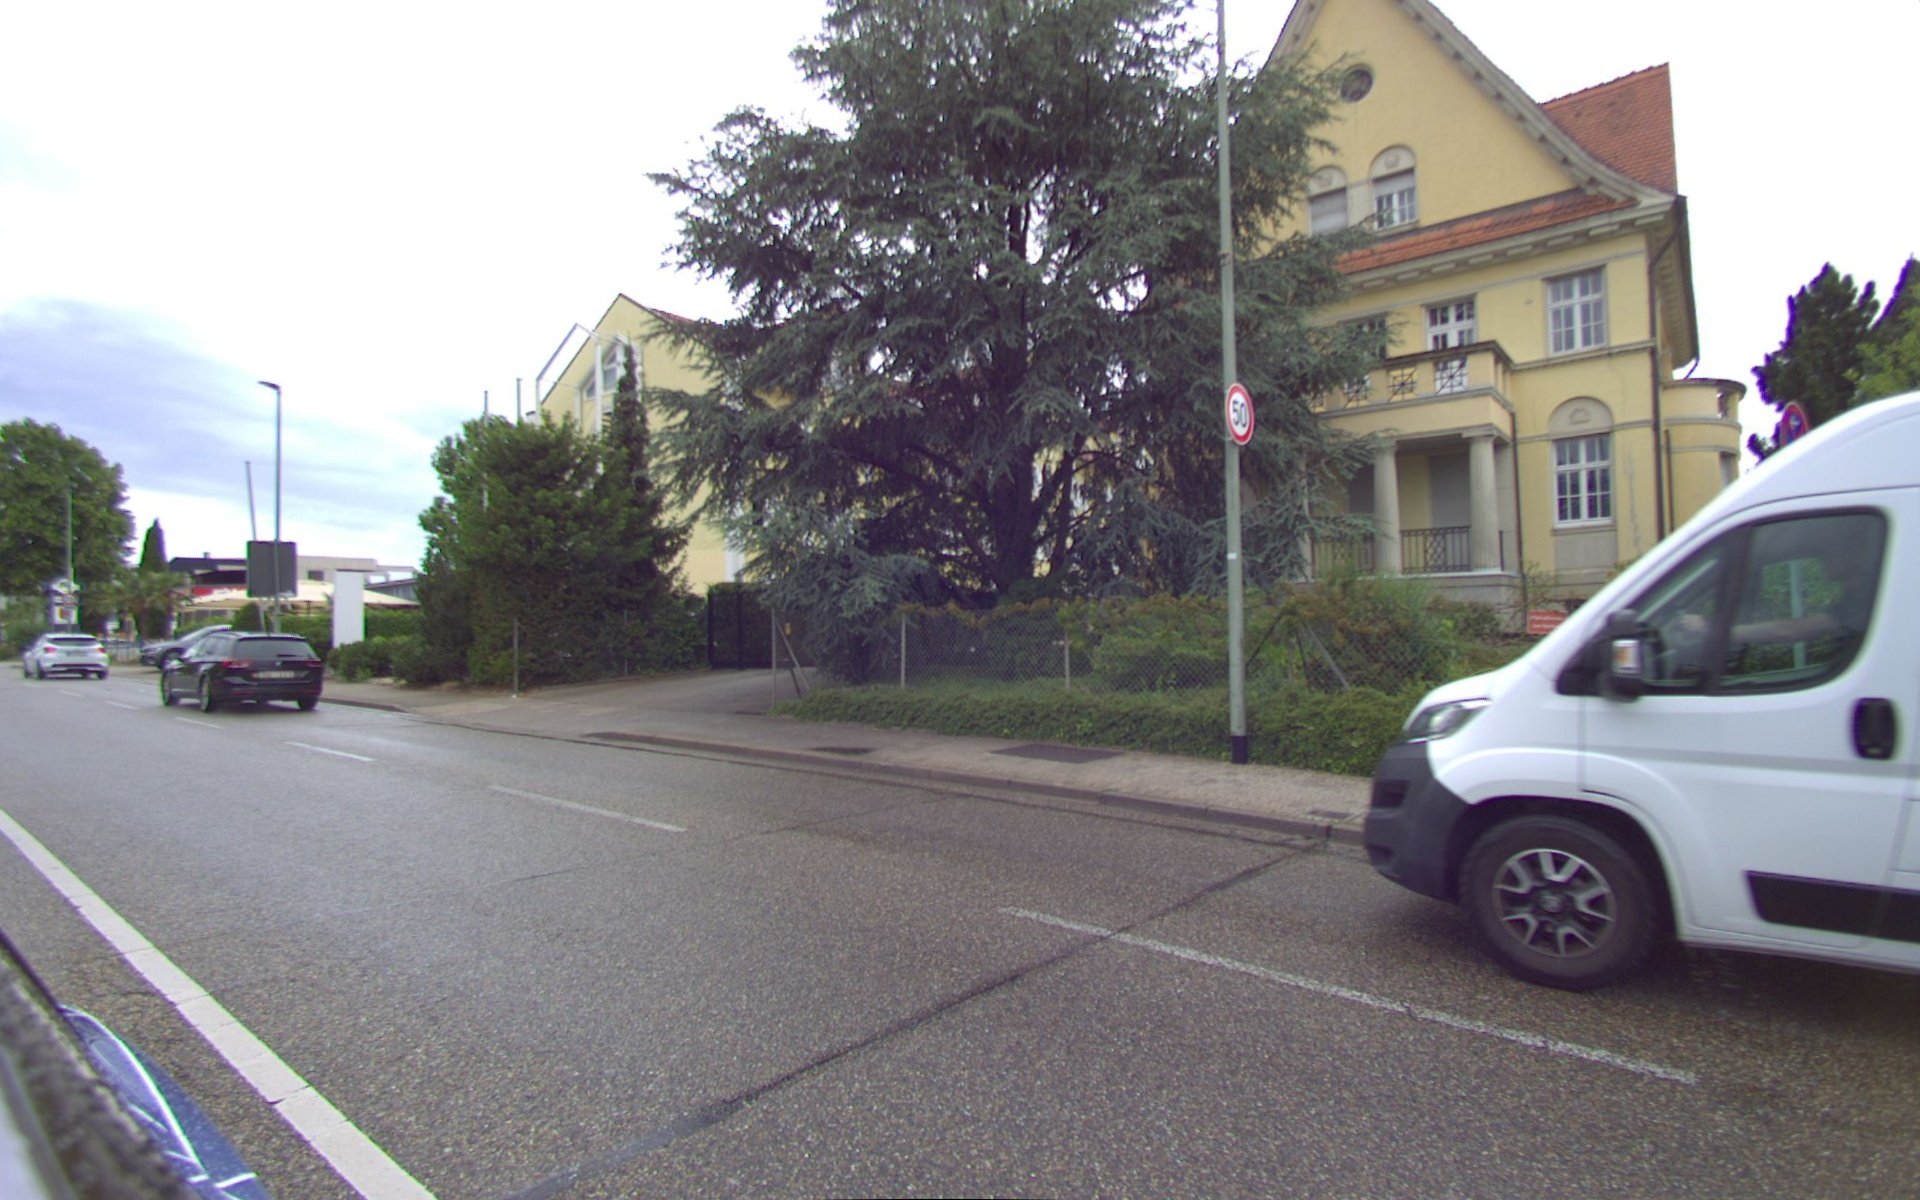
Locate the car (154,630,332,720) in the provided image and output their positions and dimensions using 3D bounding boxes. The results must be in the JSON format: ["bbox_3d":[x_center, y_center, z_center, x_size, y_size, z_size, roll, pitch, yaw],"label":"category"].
[{"bbox_3d":[-13.948,1.365,19.596,4.468,1.513,1.758,-1,-2,40],"label":"car"}]

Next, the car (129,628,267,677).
[{"bbox_3d":[-28.017,1.887,37.257,3.876,1.664,1.720,1,-2,-44],"label":"car"}]

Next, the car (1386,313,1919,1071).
[{"bbox_3d":[4.841,0.302,3.536,5.768,2.547,2.274,-1,-2,40],"label":"car"}]

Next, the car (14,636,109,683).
[{"bbox_3d":[-29.381,1.900,33.068,3.798,1.408,1.729,-1,-2,39],"label":"car"}]
